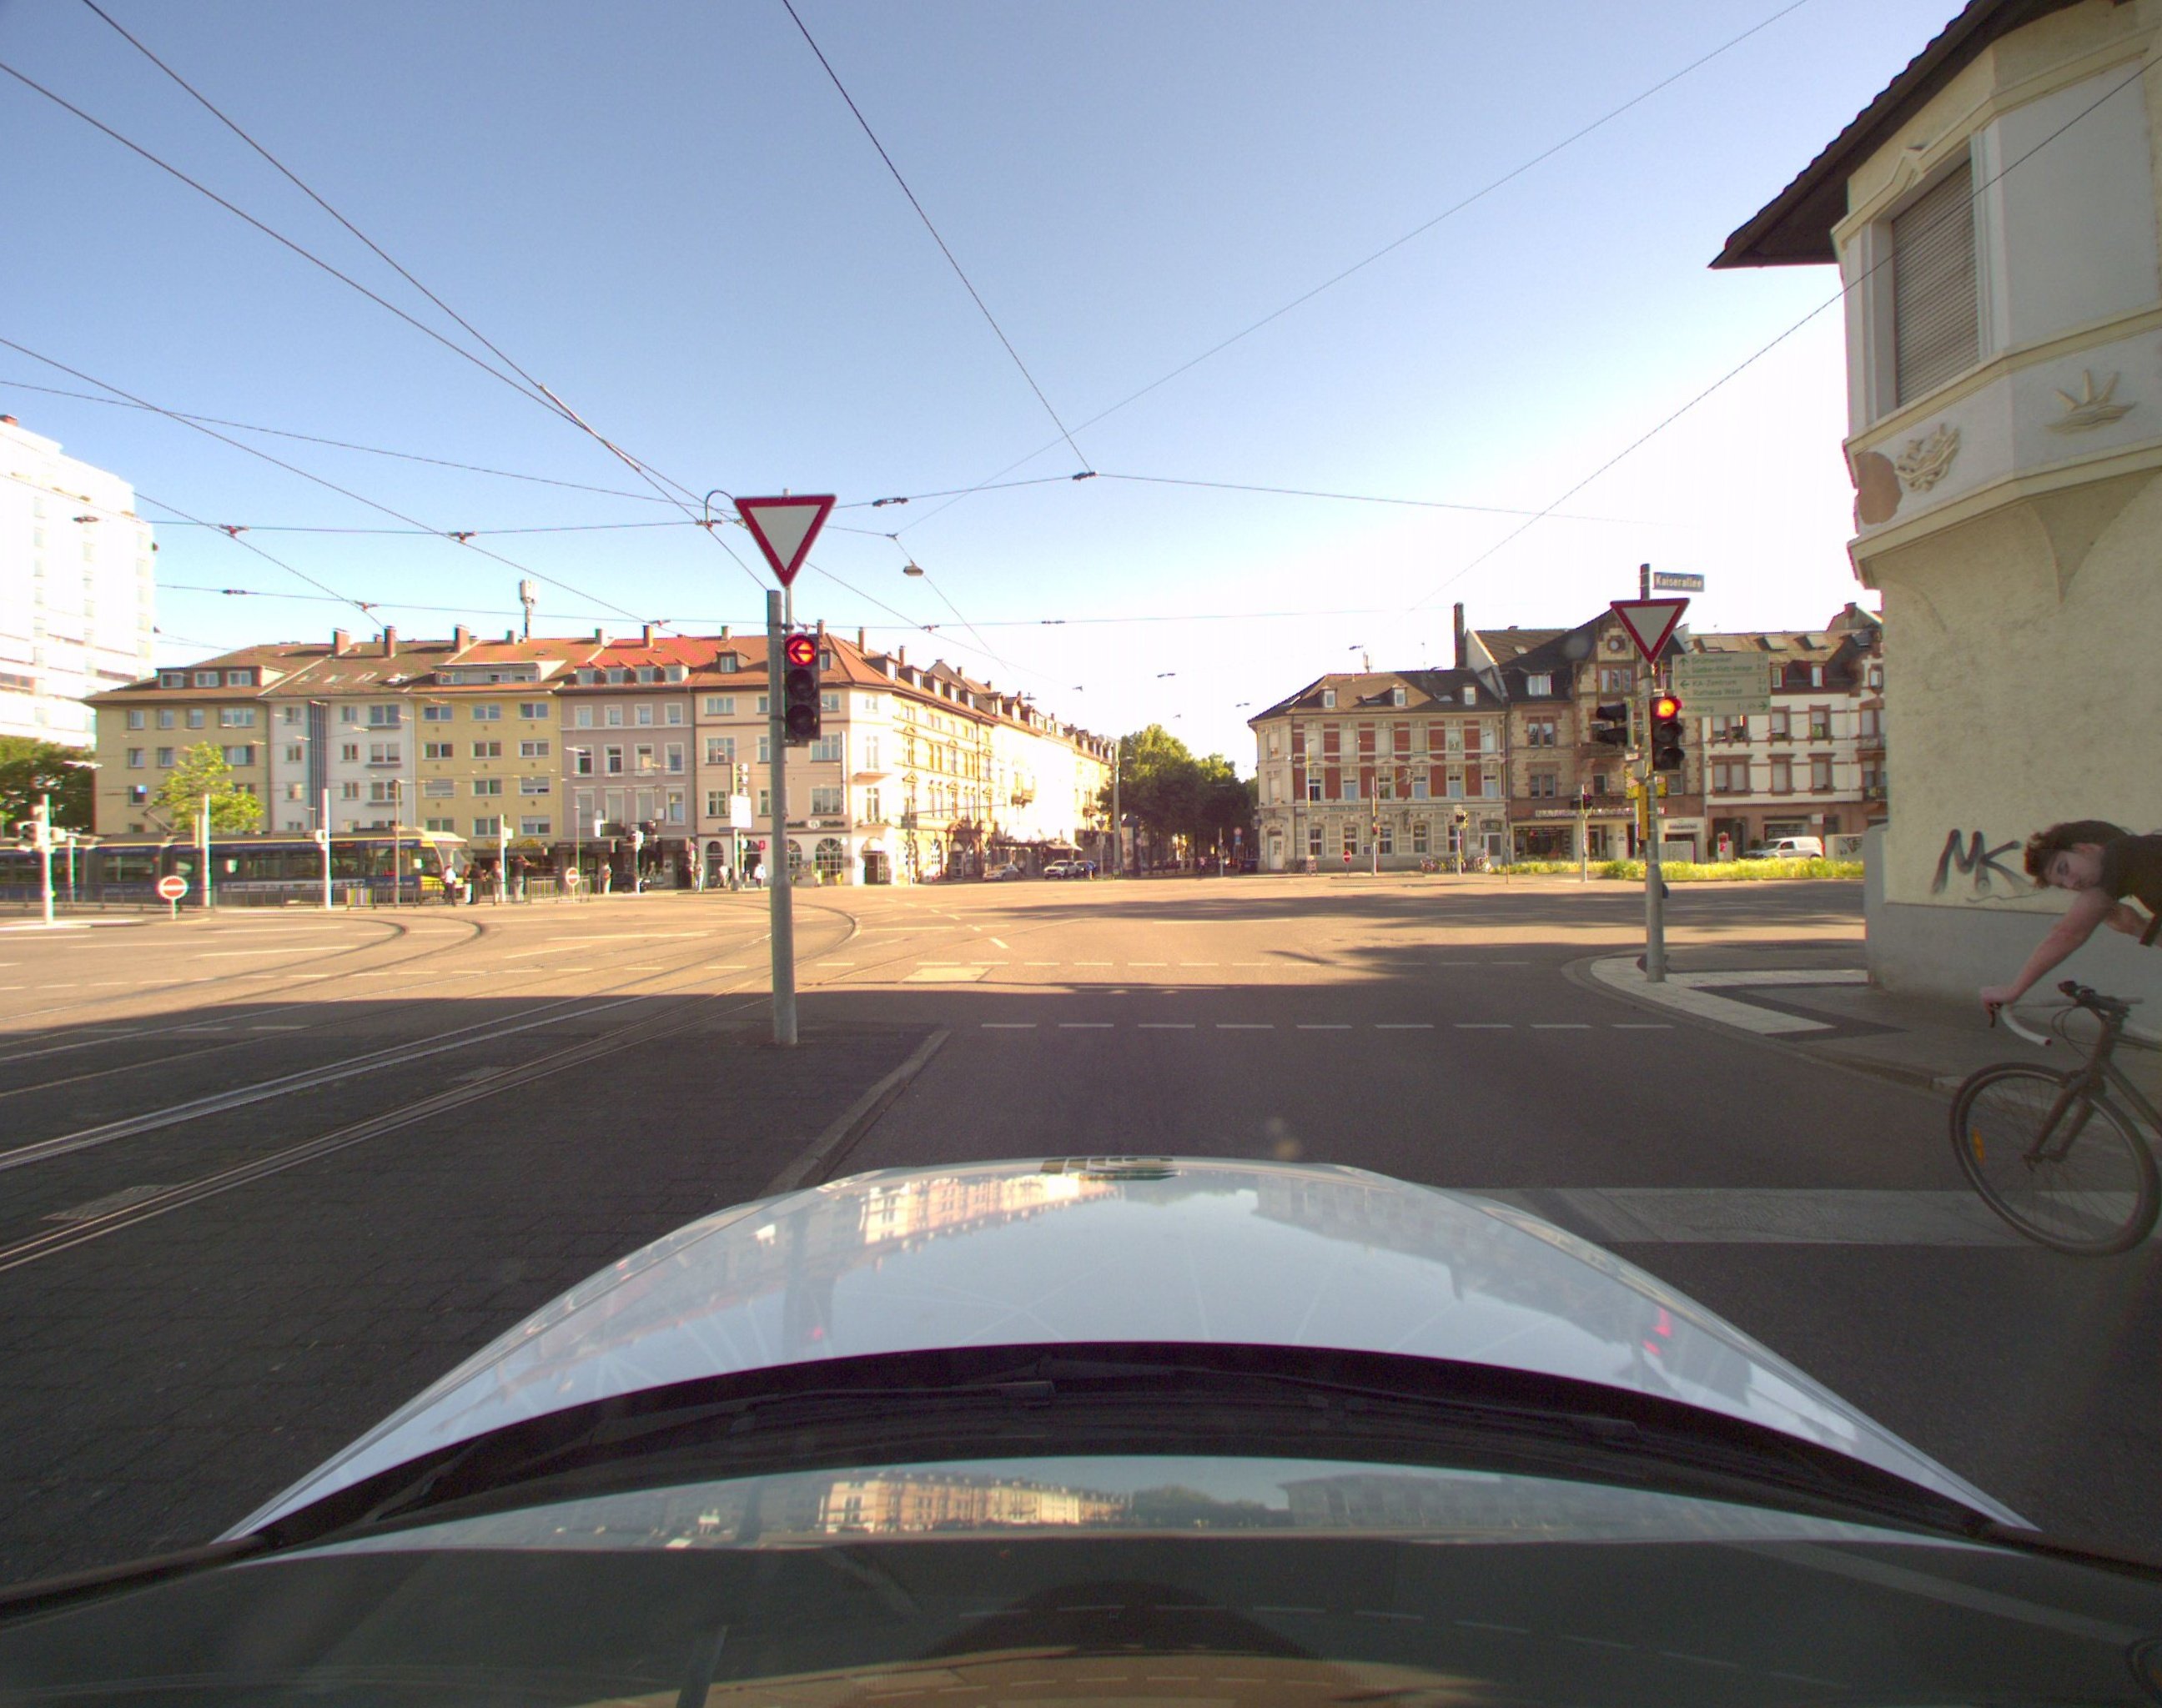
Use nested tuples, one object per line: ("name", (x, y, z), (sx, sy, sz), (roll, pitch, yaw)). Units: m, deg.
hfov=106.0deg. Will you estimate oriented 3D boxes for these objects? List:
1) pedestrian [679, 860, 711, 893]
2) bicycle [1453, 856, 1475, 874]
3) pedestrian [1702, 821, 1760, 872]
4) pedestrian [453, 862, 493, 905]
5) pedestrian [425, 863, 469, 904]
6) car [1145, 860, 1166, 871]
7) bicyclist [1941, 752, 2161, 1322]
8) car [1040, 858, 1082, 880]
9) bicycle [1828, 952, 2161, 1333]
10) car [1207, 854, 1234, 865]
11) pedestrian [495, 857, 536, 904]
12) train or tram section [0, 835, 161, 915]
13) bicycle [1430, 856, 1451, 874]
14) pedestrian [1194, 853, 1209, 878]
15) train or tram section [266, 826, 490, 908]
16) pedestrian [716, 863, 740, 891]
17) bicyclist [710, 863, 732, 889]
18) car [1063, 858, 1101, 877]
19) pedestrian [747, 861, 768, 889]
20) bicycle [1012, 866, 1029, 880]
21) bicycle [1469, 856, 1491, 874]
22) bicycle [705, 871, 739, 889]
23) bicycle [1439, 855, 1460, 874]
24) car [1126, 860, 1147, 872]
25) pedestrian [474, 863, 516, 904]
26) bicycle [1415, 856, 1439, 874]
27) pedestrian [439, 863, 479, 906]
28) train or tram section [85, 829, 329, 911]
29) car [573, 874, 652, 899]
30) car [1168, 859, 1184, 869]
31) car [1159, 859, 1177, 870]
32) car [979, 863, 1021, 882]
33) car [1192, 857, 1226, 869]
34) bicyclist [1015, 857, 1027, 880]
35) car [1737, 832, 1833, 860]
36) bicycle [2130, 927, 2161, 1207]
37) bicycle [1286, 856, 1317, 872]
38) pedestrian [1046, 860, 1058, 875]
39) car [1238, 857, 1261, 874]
("pedestrian", (-20.129, 1.152, 42.456), (1.076, 1.685, 1.104), (-2, 0, 1))
("bicycle", (24.778, 0.710, 52.680), (0.615, 1.143, 2.178), (-2, 0, 7))
("pedestrian", (27.112, -0.308, 33.991), (1.314, 2.044, 1.307), (-2, 0, 1))
("pedestrian", (-23.175, 1.120, 31.046), (0.996, 1.598, 0.947), (-2, 0, 35))
("pedestrian", (-25.305, 1.181, 32.508), (0.998, 1.598, 0.946), (-2, 0, 18))
("car", (11.257, 1.733, 122.592), (1.977, 1.612, 4.413), (-2, 0, 20))
("bicyclist", (3.597, 0.559, 2.585), (0.559, 1.754, 1.102), (-2, 0, 4))
("car", (-1.607, 1.251, 67.530), (1.977, 1.684, 4.413), (-2, 0, 20))
("bicycle", (3.612, 0.946, 2.662), (0.642, 1.010, 1.930), (-2, 0, 4))
("car", (22.834, 0.972, 133.294), (3.948, 1.706, 2.013), (-2, 0, 32))
("pedestrian", (-21.957, 1.036, 31.629), (0.996, 1.775, 0.947), (-2, 0, 29))
("train or tram section", (-50.632, 1.042, 38.166), (11.947, 3.500, 2.780), (-1, 0, 1))
("bicycle", (23.278, 0.691, 52.828), (0.615, 1.143, 2.178), (-2, 0, 7))
("pedestrian", (8.482, 0.829, 57.347), (1.040, 1.744, 0.810), (-1, 0, 8))
("train or tram section", (-32.443, 0.586, 37.786), (7.906, 3.500, 2.825), (-1, 0, 2))
("pedestrian", (-23.004, 1.504, 53.095), (0.998, 1.775, 0.945), (-2, 0, 16))
("bicyclist", (-25.262, 1.524, 57.142), (1.161, 1.775, 0.748), (-1, 0, 0))
("car", (0.118, 1.218, 74.007), (1.977, 1.612, 4.413), (-2, 0, 20))
("pedestrian", (-21.378, 1.365, 53.804), (1.014, 1.775, 0.931), (-1, -1, -38))
("bicycle", (-4.816, 1.512, 65.287), (0.675, 1.066, 2.133), (-2, 0, 14))
("bicycle", (25.755, 0.689, 52.590), (0.606, 1.136, 2.139), (-2, 0, 7))
("bicycle", (-25.130, 1.808, 57.030), (2.083, 1.181, 0.631), (-1, 0, 1))
("bicycle", (23.858, 0.671, 52.776), (0.615, 1.143, 2.178), (-2, 0, 7))
("car", (7.536, 1.669, 110.972), (1.978, 1.486, 4.017), (-1, 0, 16))
("pedestrian", (-23.240, 1.164, 32.297), (0.997, 1.598, 0.946), (-2, 0, 22))
("bicycle", (22.500, 0.700, 52.978), (0.802, 1.143, 2.178), (-2, 0, 7))
("pedestrian", (-24.129, 1.164, 31.580), (0.996, 1.598, 0.947), (-2, 0, 34))
("train or tram section", (-40.554, 0.731, 37.961), (8.401, 3.500, 2.825), (-1, 0, 2))
("car", (-30.620, 2.141, 53.328), (3.974, 1.453, 2.000), (-1, 0, -1))
("car", (15.834, 1.722, 136.158), (1.750, 1.549, 4.411), (-2, 0, 18))
("car", (13.916, 1.702, 130.324), (1.822, 1.552, 4.412), (-2, 0, 19))
("car", (-6.682, 1.522, 67.373), (1.883, 1.455, 4.020), (-2, 0, 20))
("car", (18.088, 1.310, 115.102), (4.335, 1.612, 2.012), (-2, 0, 28))
("bicyclist", (-4.812, 1.131, 65.330), (0.674, 1.820, 1.075), (-2, 0, 14))
("car", (45.358, -0.481, 52.545), (4.317, 1.640, 2.152), (-2, 0, 1))
("bicycle", (4.533, 0.856, 2.437), (0.516, 1.116, 1.815), (-2, 0, 4))
("bicycle", (15.500, 0.723, 57.181), (2.081, 1.124, 0.366), (0, -1, -3))
("pedestrian", (-3.145, 1.430, 87.817), (0.921, 1.535, 1.142), (-2, 0, 16))
("car", (17.016, 1.141, 82.207), (1.978, 1.585, 4.017), (-2, 0, 16))
